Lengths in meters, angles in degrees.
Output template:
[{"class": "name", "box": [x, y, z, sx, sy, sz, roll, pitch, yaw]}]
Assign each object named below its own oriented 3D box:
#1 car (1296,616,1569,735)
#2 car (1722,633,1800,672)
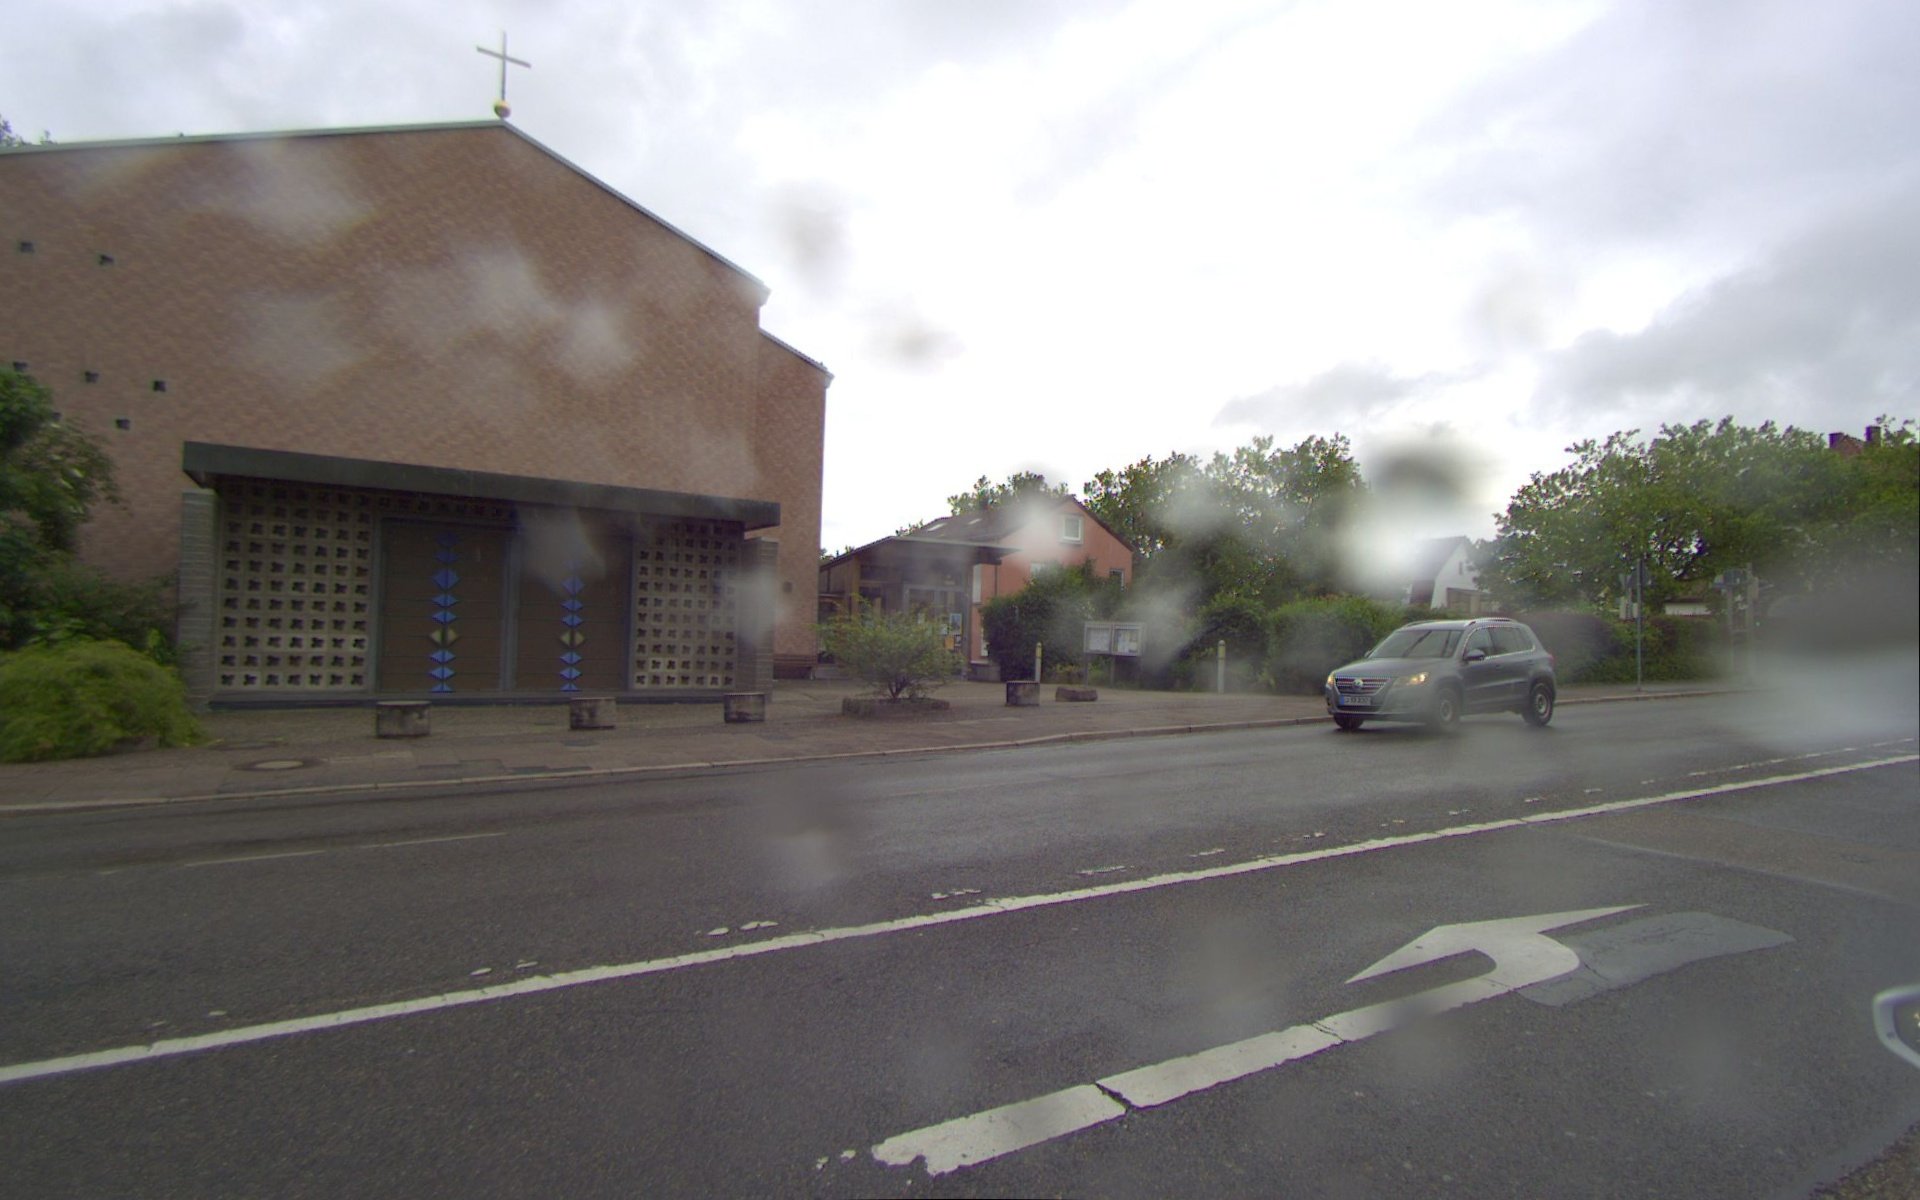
[{"class": "car", "box": [7.399, 1.099, 15.620, 4.271, 1.611, 1.897, 1, -3, -33]}, {"class": "car", "box": [39.121, 2.530, 49.028, 3.955, 1.573, 1.798, -3, 2, -32]}]
